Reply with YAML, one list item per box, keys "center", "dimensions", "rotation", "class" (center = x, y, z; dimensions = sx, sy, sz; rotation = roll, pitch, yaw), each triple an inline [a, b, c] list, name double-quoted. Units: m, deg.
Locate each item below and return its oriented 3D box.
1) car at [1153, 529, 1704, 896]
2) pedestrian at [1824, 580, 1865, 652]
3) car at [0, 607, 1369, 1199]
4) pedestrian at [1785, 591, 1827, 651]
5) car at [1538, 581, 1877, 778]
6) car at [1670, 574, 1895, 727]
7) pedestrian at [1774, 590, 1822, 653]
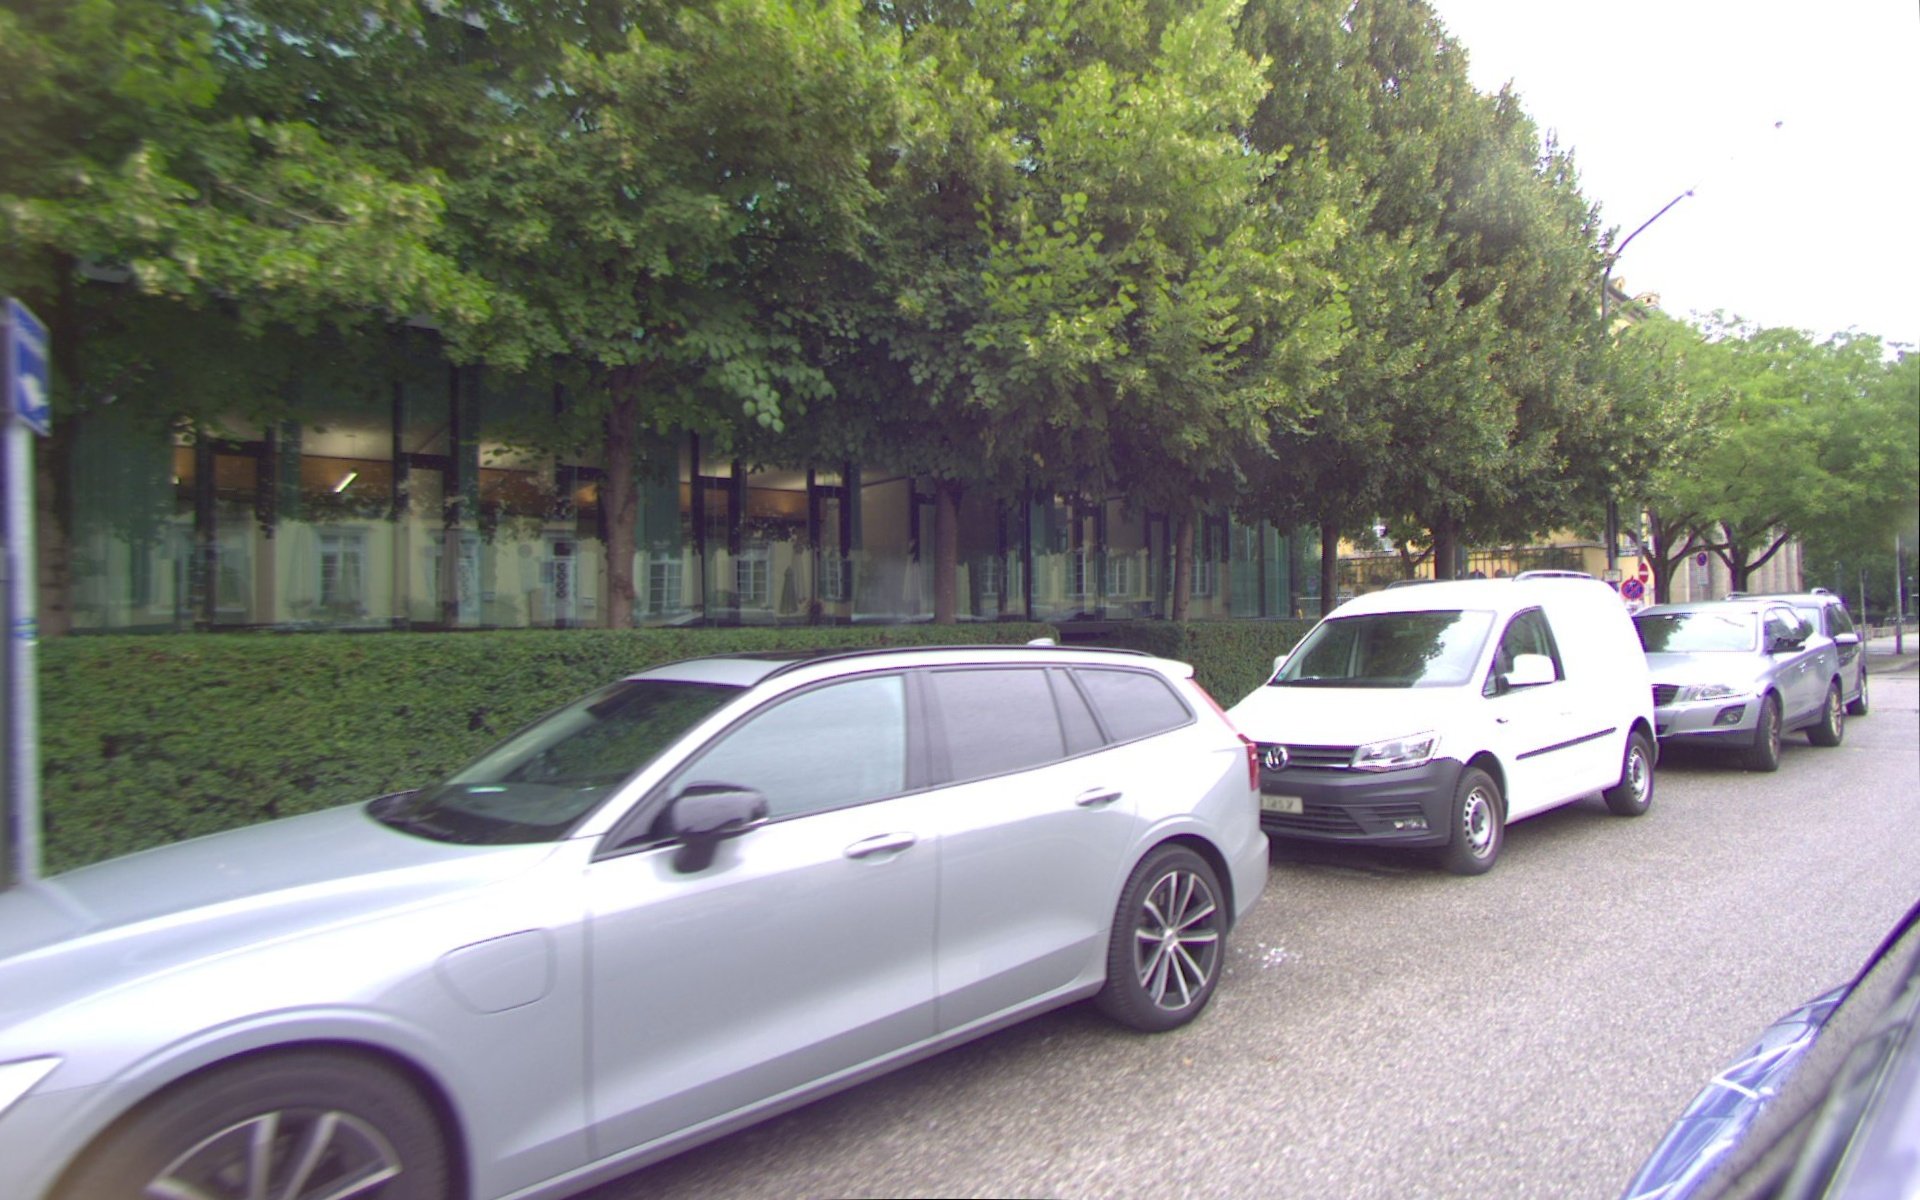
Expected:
- center: [3.614, 0.612, 7.424]
  dimensions: [4.491, 1.920, 1.788]
  rotation: [0, -2, -39]
  class: "car"
- center: [25.741, 0.476, 29.454]
  dimensions: [0.685, 2.040, 0.884]
  rotation: [-3, -3, 33]
  class: "pedestrian"
- center: [-0.734, 0.862, 3.608]
  dimensions: [4.916, 1.572, 1.950]
  rotation: [0, -2, -40]
  class: "car"
- center: [25.573, 0.639, 30.593]
  dimensions: [0.690, 1.782, 0.682]
  rotation: [-2, -2, 19]
  class: "pedestrian"
- center: [8.295, 0.719, 11.059]
  dimensions: [4.699, 1.713, 1.871]
  rotation: [0, -2, -40]
  class: "car"
- center: [11.688, 0.637, 14.281]
  dimensions: [4.274, 1.831, 1.811]
  rotation: [0, -2, -43]
  class: "car"
- center: [24.669, 0.638, 29.796]
  dimensions: [0.679, 1.809, 0.891]
  rotation: [-2, -2, 13]
  class: "pedestrian"
